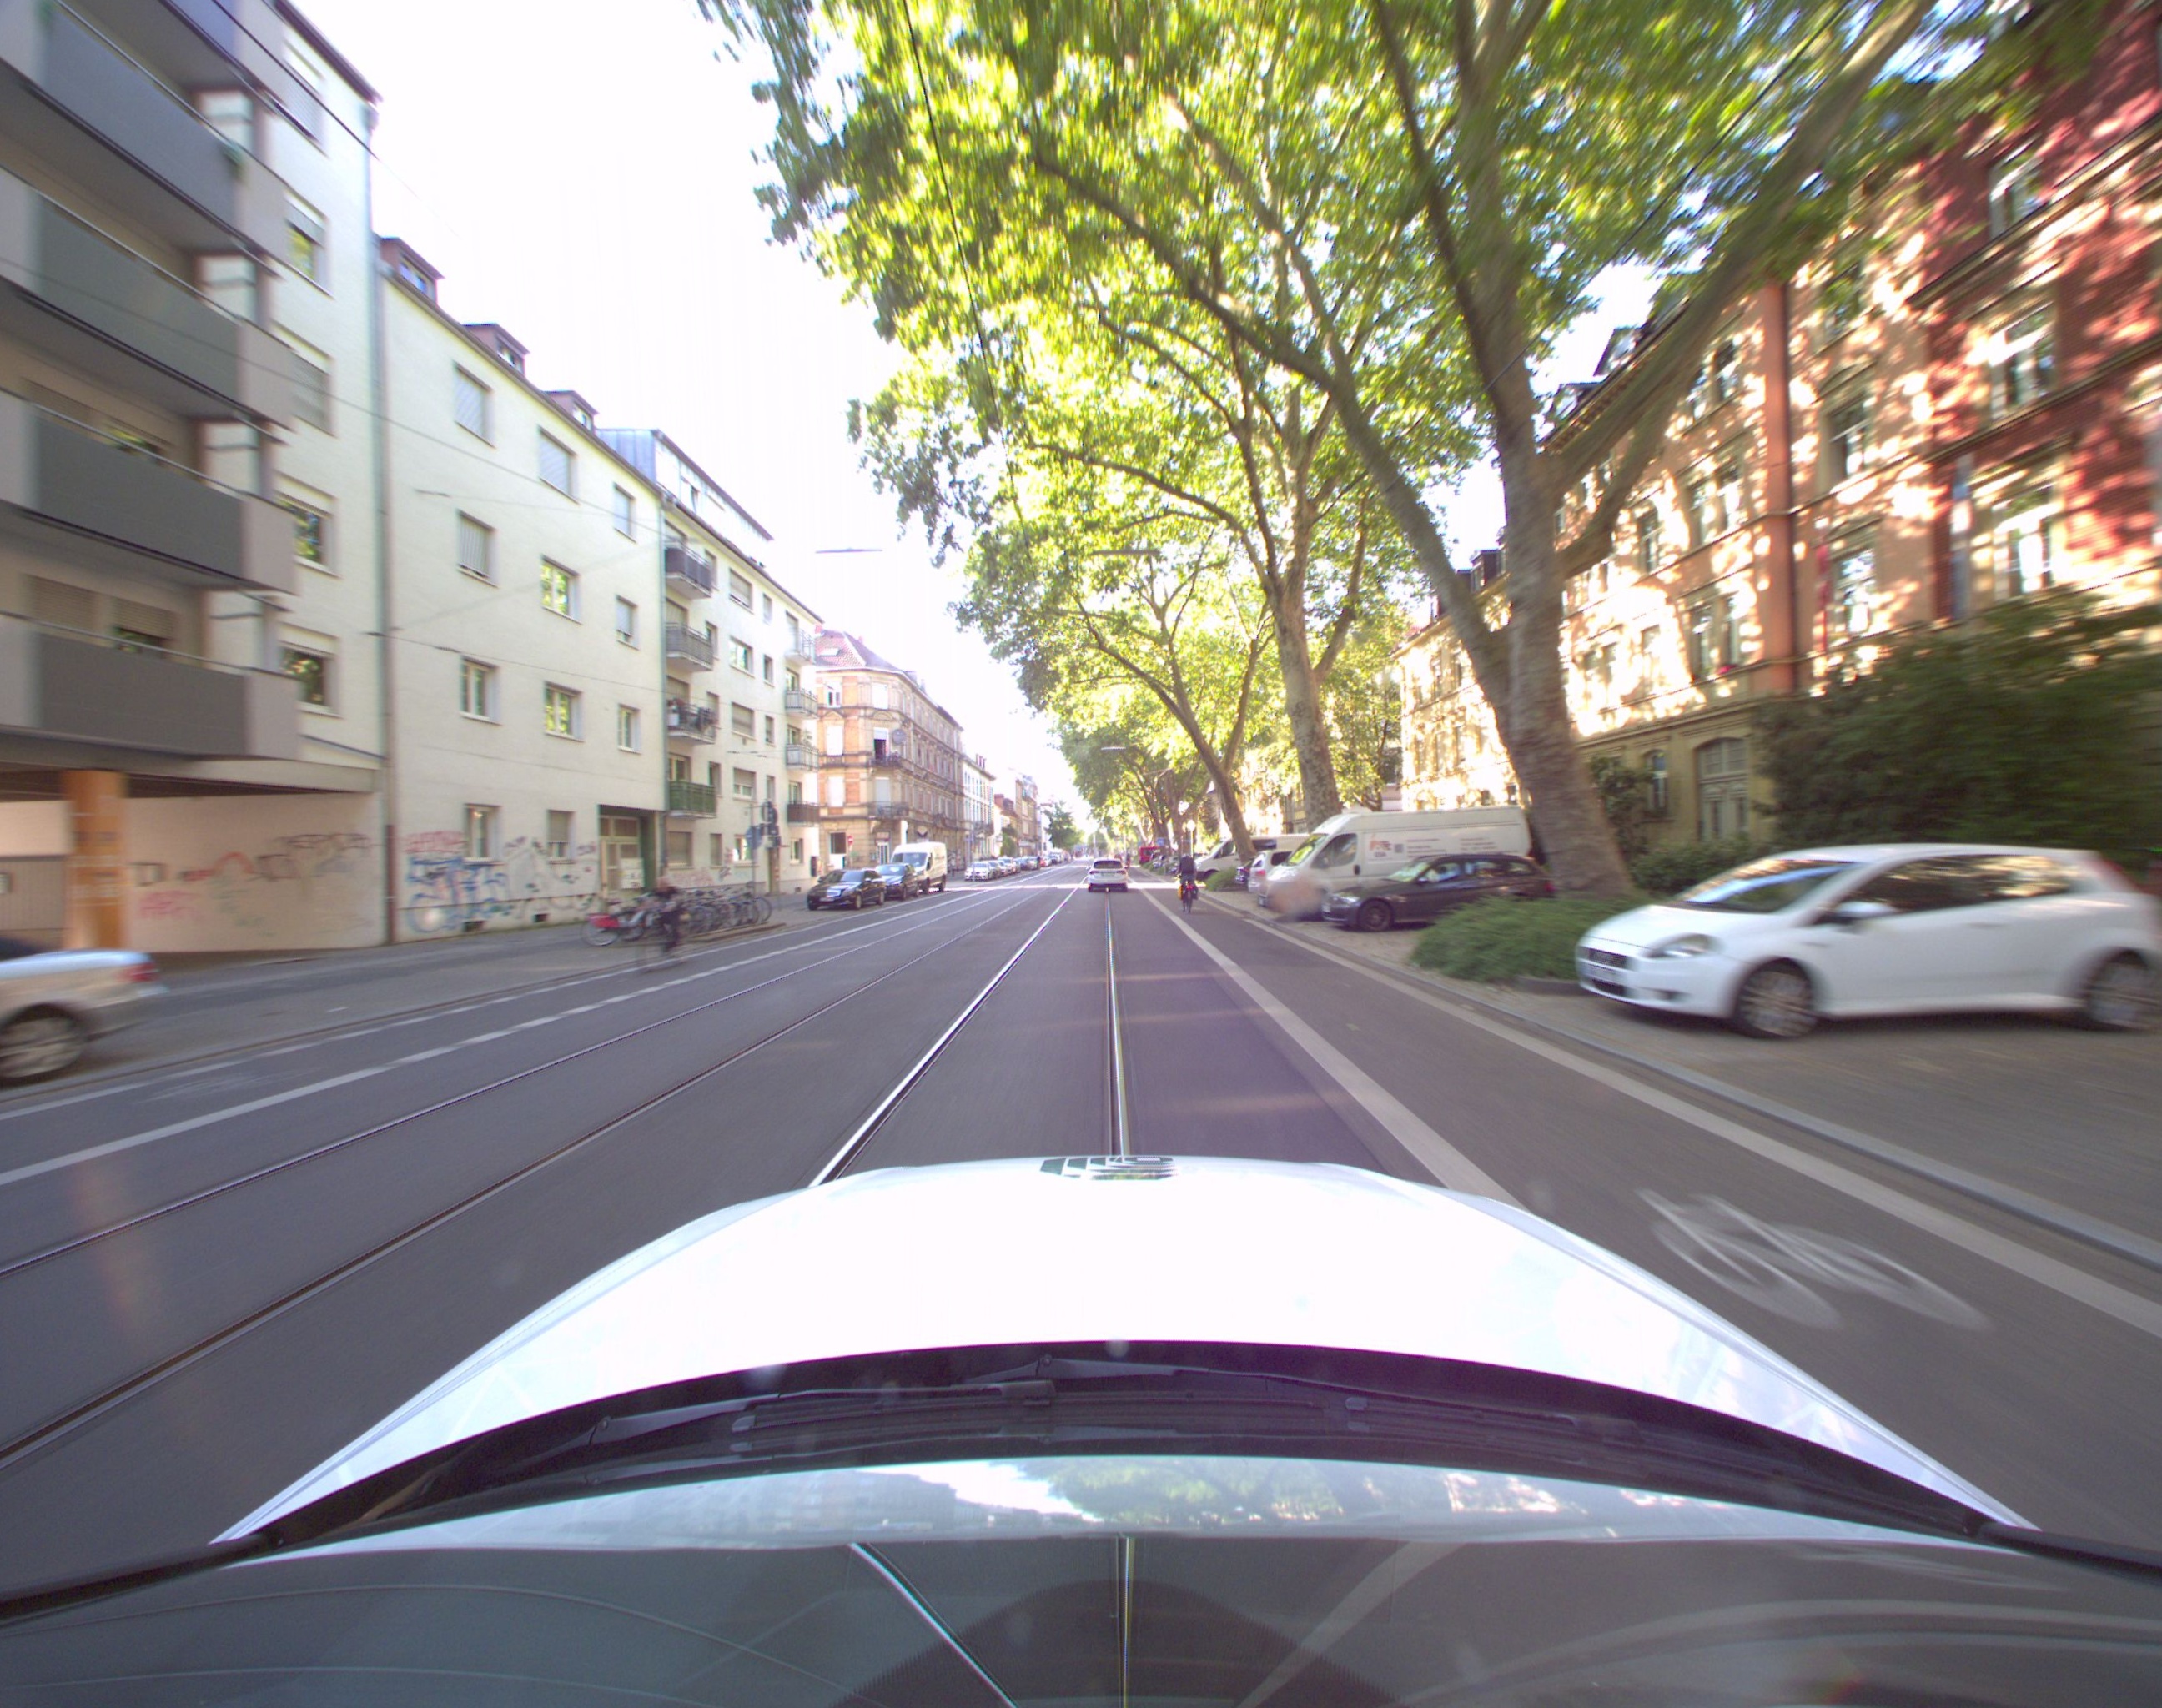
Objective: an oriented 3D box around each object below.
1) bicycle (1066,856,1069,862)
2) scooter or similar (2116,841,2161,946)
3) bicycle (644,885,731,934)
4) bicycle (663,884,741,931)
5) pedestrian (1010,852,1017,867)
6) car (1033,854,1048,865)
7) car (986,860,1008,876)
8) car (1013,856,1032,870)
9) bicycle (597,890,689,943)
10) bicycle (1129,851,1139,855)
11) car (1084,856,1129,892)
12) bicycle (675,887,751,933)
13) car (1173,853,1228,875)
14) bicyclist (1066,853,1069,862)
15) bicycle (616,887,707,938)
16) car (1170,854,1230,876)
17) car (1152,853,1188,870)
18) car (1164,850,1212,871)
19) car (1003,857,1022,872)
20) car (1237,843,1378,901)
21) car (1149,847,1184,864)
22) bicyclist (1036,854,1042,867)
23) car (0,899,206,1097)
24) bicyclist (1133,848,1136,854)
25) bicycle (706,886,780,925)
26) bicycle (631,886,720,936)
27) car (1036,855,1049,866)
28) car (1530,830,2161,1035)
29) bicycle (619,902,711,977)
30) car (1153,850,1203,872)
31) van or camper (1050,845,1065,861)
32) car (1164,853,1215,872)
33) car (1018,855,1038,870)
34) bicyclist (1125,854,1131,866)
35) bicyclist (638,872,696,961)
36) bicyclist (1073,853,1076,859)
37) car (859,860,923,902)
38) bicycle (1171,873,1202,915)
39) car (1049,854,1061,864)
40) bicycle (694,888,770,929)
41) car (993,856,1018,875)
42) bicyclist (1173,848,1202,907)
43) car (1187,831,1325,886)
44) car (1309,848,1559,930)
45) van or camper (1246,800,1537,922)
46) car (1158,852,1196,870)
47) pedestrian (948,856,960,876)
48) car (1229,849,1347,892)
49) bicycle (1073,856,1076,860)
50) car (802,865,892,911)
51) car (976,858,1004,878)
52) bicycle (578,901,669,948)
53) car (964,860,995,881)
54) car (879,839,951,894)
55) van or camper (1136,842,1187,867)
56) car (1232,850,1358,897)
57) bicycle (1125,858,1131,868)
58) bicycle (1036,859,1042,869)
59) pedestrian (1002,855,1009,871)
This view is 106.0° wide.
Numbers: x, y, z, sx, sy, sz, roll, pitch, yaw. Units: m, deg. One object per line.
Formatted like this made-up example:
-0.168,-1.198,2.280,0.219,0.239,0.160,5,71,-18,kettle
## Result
-2.472,0.999,152.331,0.479,1.086,1.847,-2,0,3,bicycle
12.786,0.463,9.441,0.273,1.224,1.126,-1,0,11,scooter or similar
-9.381,1.311,19.427,1.957,1.119,0.425,0,0,8,bicycle
-9.355,1.312,20.114,1.808,1.119,0.425,0,0,8,bicycle
-8.727,0.723,104.957,0.757,1.821,0.829,-2,0,-1,pedestrian
-5.959,0.828,119.295,1.561,1.562,3.454,-2,0,6,car
-7.423,1.217,72.330,1.695,1.420,3.997,0,0,-2,car
-6.602,1.023,92.882,1.547,1.515,3.929,-2,0,4,car
-9.547,1.343,17.773,1.883,1.119,0.403,0,0,8,bicycle
14.102,-0.371,216.627,2.748,0.999,0.595,0,0,16,bicycle
1.073,0.821,35.884,1.836,1.480,3.838,-1,0,0,car
-9.223,1.384,20.427,1.779,1.119,0.425,0,0,8,bicycle
9.100,0.750,62.134,4.075,1.491,1.684,-2,0,6,car
-2.449,0.706,152.509,0.471,1.636,0.800,-2,0,3,bicyclist
-9.469,1.309,18.403,1.920,1.119,0.440,0,0,8,bicycle
8.698,0.802,59.579,4.084,1.491,1.830,-2,0,-1,car
9.141,0.730,83.749,3.582,1.517,1.694,-3,0,1,car
9.353,0.568,71.342,4.015,1.643,1.681,-2,0,-1,car
-6.966,1.081,83.269,1.657,1.521,4.063,0,0,0,car
7.124,0.560,25.883,3.944,1.655,1.795,-2,-1,-2,car
9.812,0.180,93.560,3.807,1.649,1.766,-3,-1,-1,car
-4.782,0.729,92.447,0.580,1.482,0.807,-2,0,1,bicyclist
-9.534,1.218,5.637,1.683,1.491,4.731,-2,0,2,car
14.304,-0.697,216.574,0.731,1.589,0.589,-2,0,14,bicyclist
-9.108,1.382,21.964,1.883,1.038,0.403,0,0,8,bicycle
-9.429,1.310,18.941,1.950,1.119,0.440,0,0,8,bicycle
-5.832,0.982,124.453,1.821,1.502,4.688,0,0,0,car
6.491,0.636,7.312,3.936,1.480,1.690,-2,0,3,car
-6.840,1.374,13.496,0.415,1.018,1.948,-3,0,2,bicycle
8.817,0.632,74.389,4.249,1.719,1.848,-4,0,-1,car
-4.700,-0.278,164.297,2.207,3.140,7.120,-1,0,4,van or camper
9.110,0.709,68.717,4.014,1.480,1.681,-2,0,0,car
-6.354,0.979,98.006,1.849,1.703,4.766,-2,0,3,car
5.274,0.629,91.473,0.676,1.339,0.525,0,0,2,bicyclist
-6.839,1.016,13.464,0.507,1.394,0.709,-3,0,1,bicyclist
-1.721,0.417,203.398,0.635,1.503,1.070,-3,0,3,bicyclist
-8.231,1.128,35.691,1.712,1.631,4.347,-2,0,0,car
2.870,1.049,22.235,0.593,1.004,2.512,1,0,2,bicycle
-4.717,0.893,146.121,1.958,1.781,4.937,1,0,0,car
-9.139,1.427,21.342,1.883,1.038,0.403,0,0,8,bicycle
-7.126,1.100,77.582,1.779,1.723,4.721,0,0,2,car
2.890,0.624,22.147,0.612,1.552,0.936,3,0,2,bicyclist
7.984,0.208,37.665,5.966,2.282,2.008,-2,1,3,car
7.083,0.682,16.675,4.373,1.552,1.783,0,0,1,car
7.121,0.155,19.198,6.011,2.491,2.107,-2,0,0,van or camper
9.558,0.714,81.217,3.581,1.599,1.541,-2,-1,2,car
-10.854,0.994,69.367,0.656,1.665,0.773,-1,0,33,pedestrian
7.885,0.625,31.244,4.041,1.460,1.796,-2,0,0,car
-1.699,1.029,203.390,0.496,0.943,1.923,-3,0,4,bicycle
-8.463,1.174,29.862,1.711,1.456,4.576,-2,0,3,car
-7.450,1.154,67.020,1.735,1.562,4.787,0,0,1,car
-9.630,1.469,17.185,1.621,0.917,0.400,0,0,-15,bicycle
-7.662,1.230,61.801,1.735,1.492,4.045,0,0,1,car
-8.278,0.580,41.232,2.056,2.535,5.672,-2,0,3,car
9.612,0.047,98.033,5.797,2.519,2.287,-4,1,-1,van or camper
7.463,0.669,28.695,3.940,1.478,1.796,-2,0,1,car
5.298,0.985,91.507,0.677,1.155,2.966,0,0,2,bicycle
-4.745,1.156,92.530,0.419,1.150,2.232,-3,-1,1,bicycle
-9.700,1.125,104.992,0.757,2.013,0.830,-2,0,0,pedestrian
